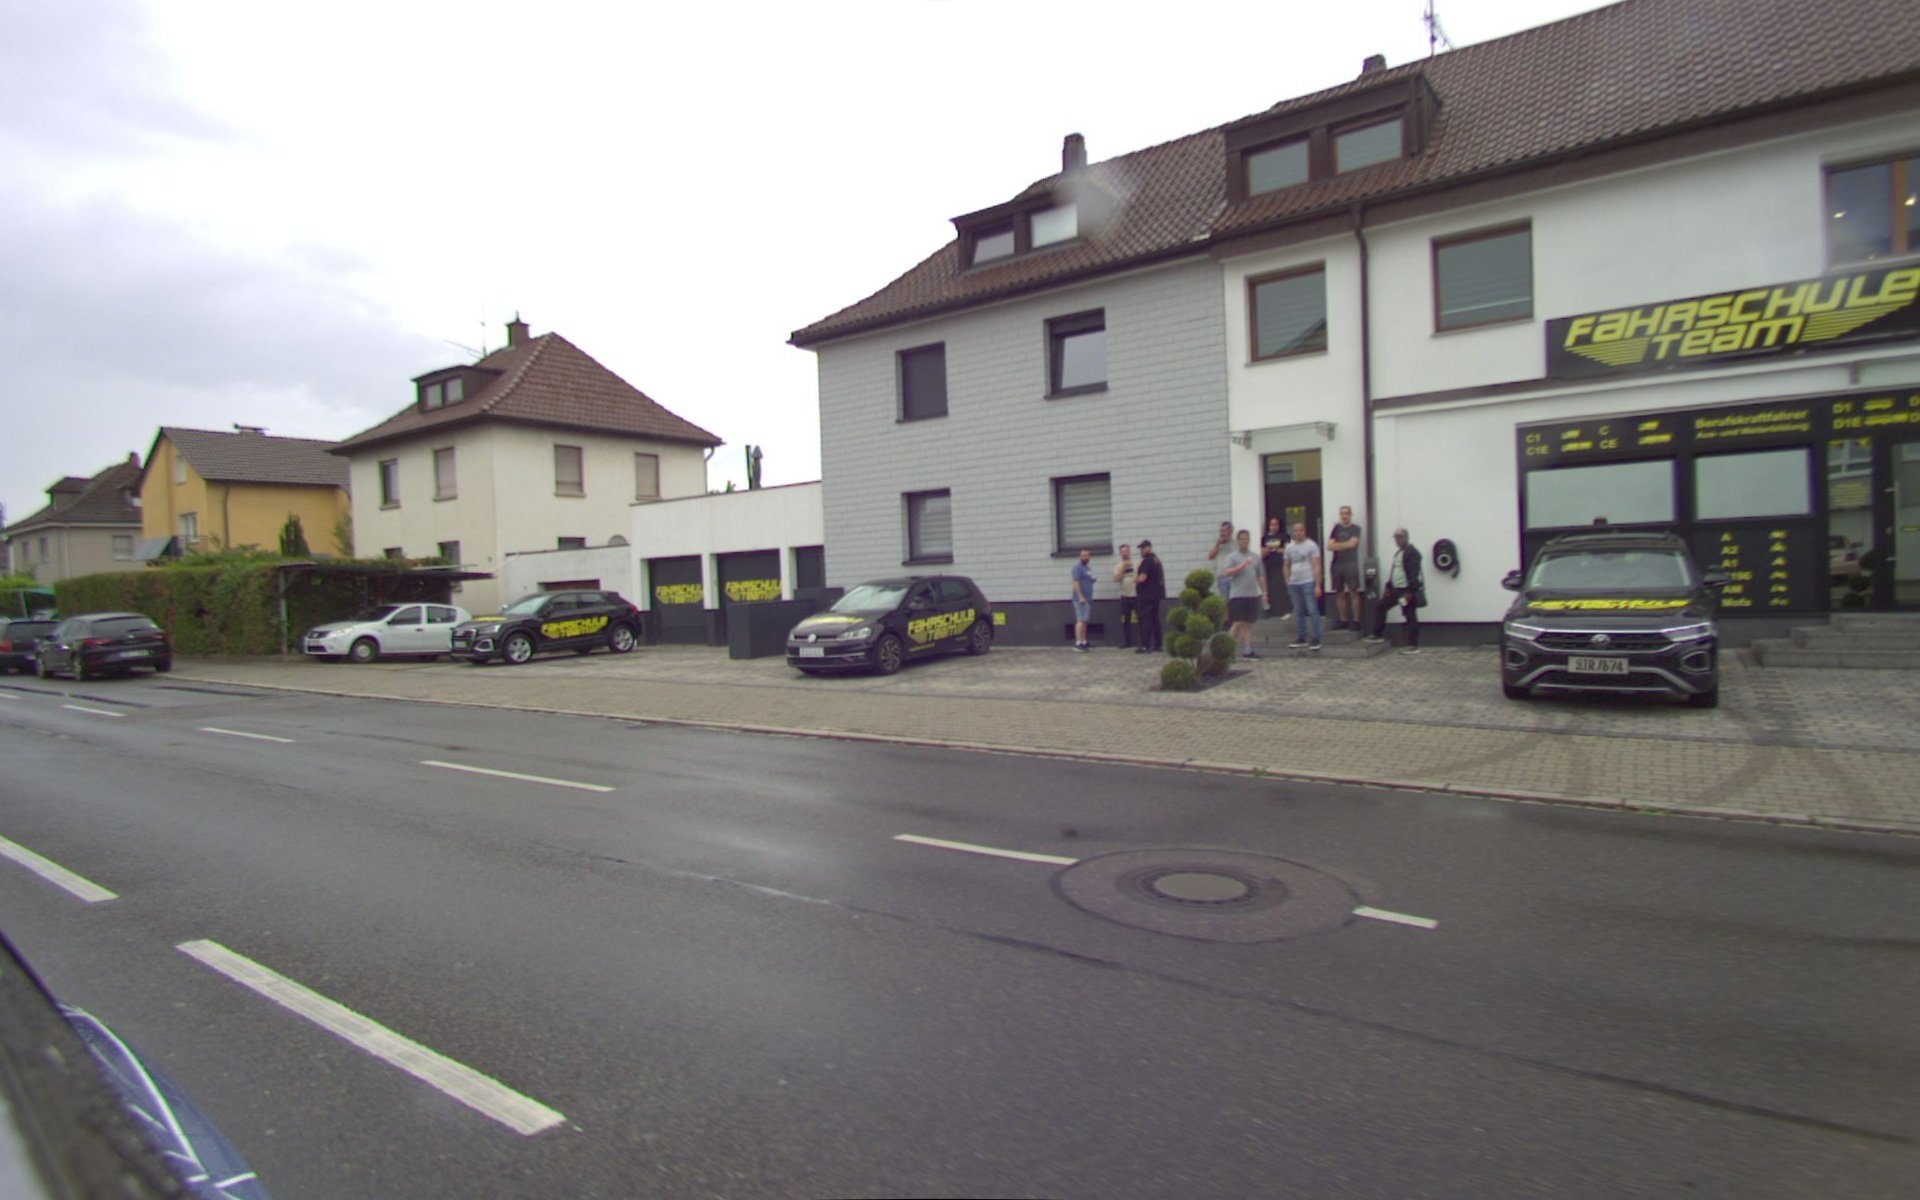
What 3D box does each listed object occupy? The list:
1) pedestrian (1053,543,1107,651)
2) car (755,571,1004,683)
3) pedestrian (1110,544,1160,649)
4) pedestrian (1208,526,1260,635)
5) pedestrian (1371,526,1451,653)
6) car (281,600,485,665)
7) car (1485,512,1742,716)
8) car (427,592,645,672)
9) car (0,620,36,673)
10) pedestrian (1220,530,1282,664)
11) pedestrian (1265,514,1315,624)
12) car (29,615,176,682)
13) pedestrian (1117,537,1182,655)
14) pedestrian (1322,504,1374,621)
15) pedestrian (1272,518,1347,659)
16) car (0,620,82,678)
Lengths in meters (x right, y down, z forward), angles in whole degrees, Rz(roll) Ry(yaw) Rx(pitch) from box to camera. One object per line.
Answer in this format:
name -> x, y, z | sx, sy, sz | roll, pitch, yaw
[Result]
pedestrian -> 2.028, -0.048, 17.112 | 0.688, 1.765, 0.442 | -1, 3, 37
car -> -1.182, 0.355, 16.509 | 1.881, 1.430, 3.952 | -1, 3, 36
pedestrian -> 2.971, -0.057, 17.136 | 0.560, 1.720, 0.581 | -1, 3, 35
pedestrian -> 4.361, -0.316, 16.088 | 0.574, 1.682, 0.577 | -1, 3, 35
pedestrian -> 6.224, -0.156, 13.986 | 0.664, 1.682, 0.693 | -5, 3, -24
car -> -14.400, 0.891, 25.492 | 1.833, 1.495, 4.071 | -2, -4, 29
car -> 6.932, 0.016, 10.589 | 1.869, 1.575, 3.952 | -2, 4, 37
car -> -9.296, 0.647, 22.467 | 1.881, 1.430, 4.062 | -1, 2, 36
car -> -29.309, 1.375, 30.115 | 3.989, 1.525, 1.790 | -1, -1, 34
pedestrian -> 4.072, -0.053, 14.128 | 0.539, 1.801, 0.662 | -1, 4, 40
pedestrian -> 5.197, -0.490, 15.936 | 0.550, 1.682, 0.568 | -1, 3, 35
car -> -20.129, 1.090, 23.713 | 3.993, 1.426, 1.788 | -1, -1, 37
pedestrian -> 2.998, -0.068, 16.025 | 0.643, 1.800, 0.649 | -4, 1, -30
pedestrian -> 5.763, -0.555, 15.032 | 0.512, 1.682, 0.510 | -1, 4, 42
pedestrian -> 4.876, -0.170, 14.114 | 0.686, 1.880, 0.725 | -1, 4, 42
car -> -25.148, 1.269, 26.883 | 3.989, 1.426, 1.790 | -1, -1, 34
